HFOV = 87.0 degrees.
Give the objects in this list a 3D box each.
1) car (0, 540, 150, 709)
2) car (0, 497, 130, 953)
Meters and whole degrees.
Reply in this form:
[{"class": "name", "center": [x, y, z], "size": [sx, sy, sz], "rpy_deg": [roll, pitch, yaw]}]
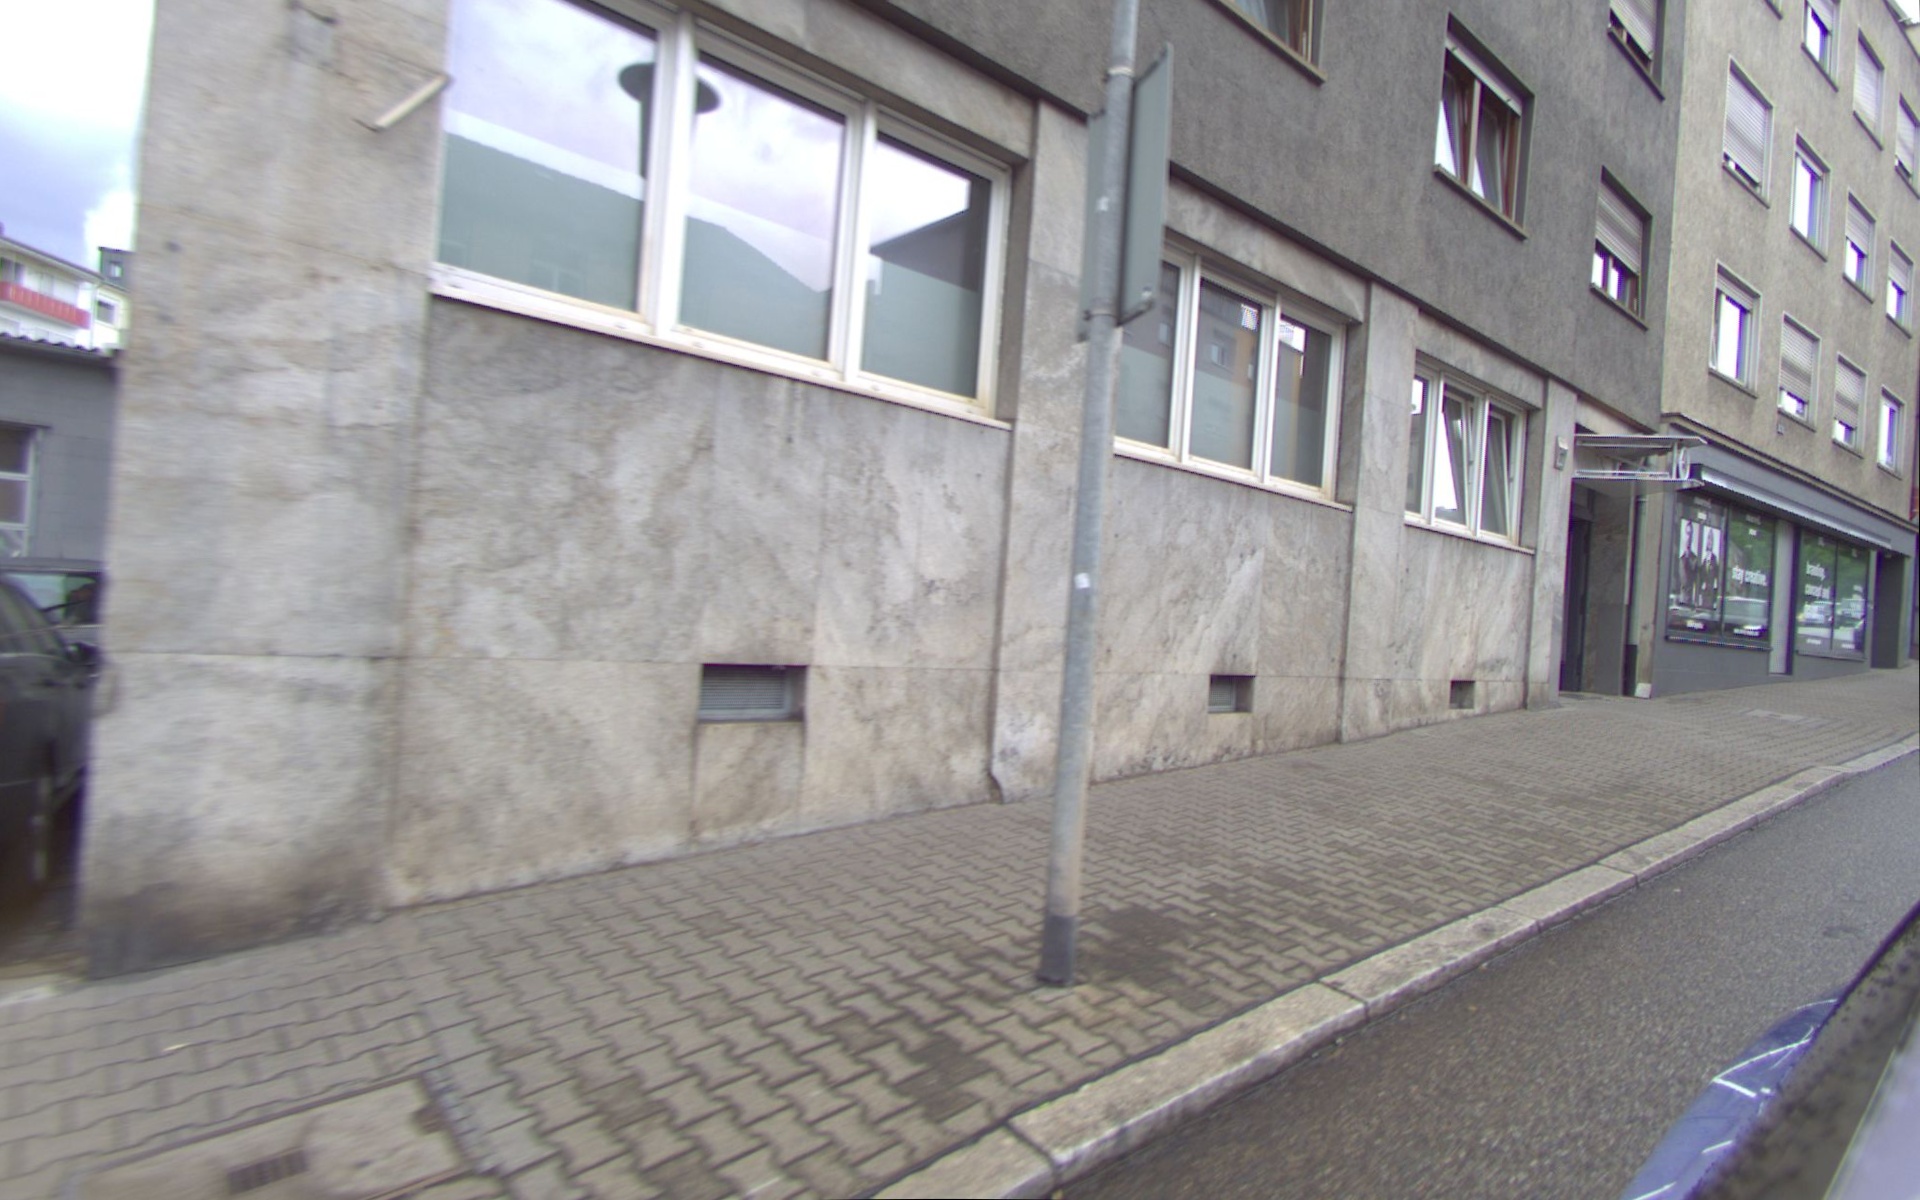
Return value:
[{"class": "car", "center": [-10.331, 0.146, 11.284], "size": [1.852, 1.531, 4.256], "rpy_deg": [1, 3, -37]}, {"class": "car", "center": [-5.228, 0.444, 4.718], "size": [1.852, 1.532, 4.502], "rpy_deg": [1, -1, -37]}]
